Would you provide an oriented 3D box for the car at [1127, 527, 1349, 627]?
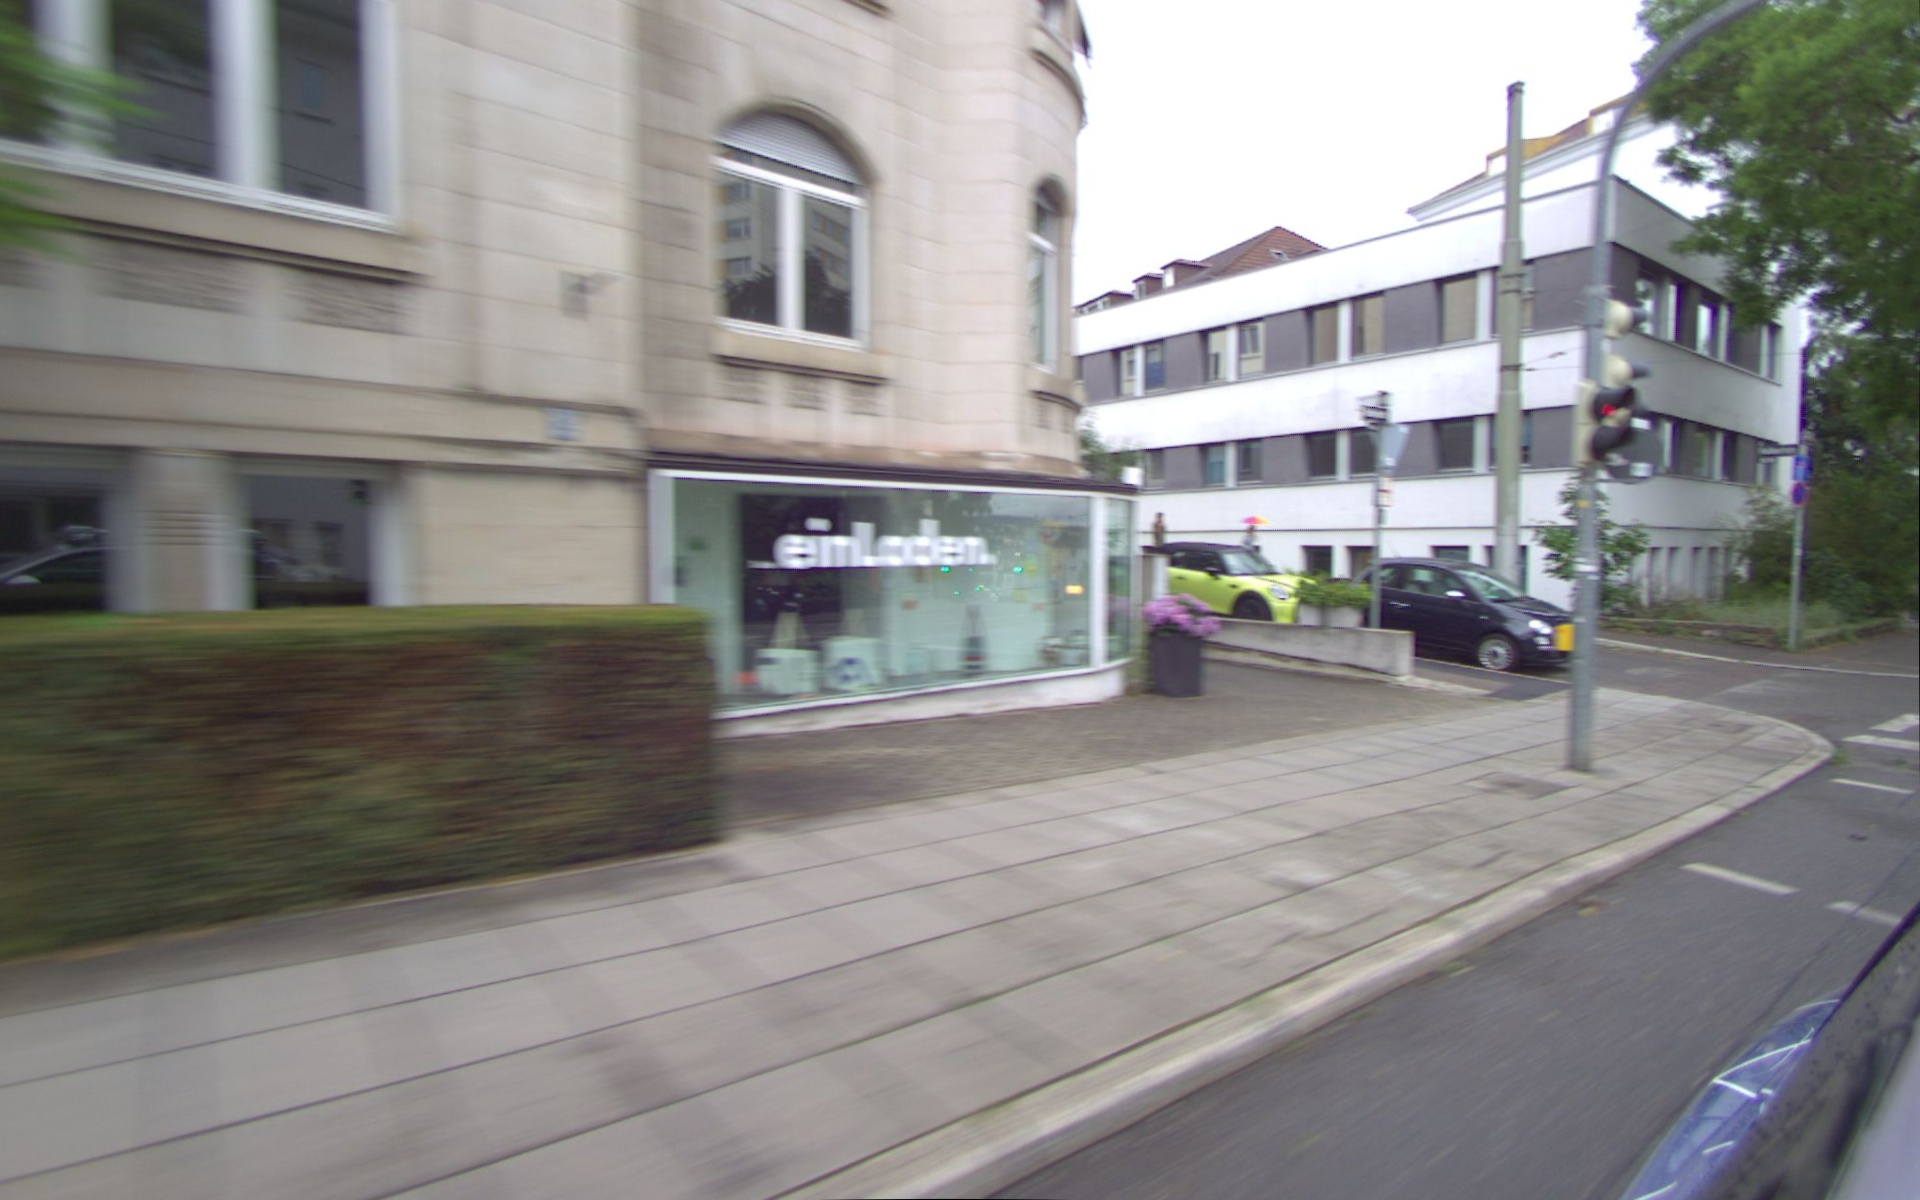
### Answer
[{"bbox_3d":[5.019,-0.504,18.698,1.705,1.525,3.674,-1,6,-35],"label":"car"}]

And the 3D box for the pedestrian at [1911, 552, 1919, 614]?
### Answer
[{"bbox_3d":[26.786,-0.444,27.728,0.660,1.719,0.747,3,5,-32],"label":"pedestrian"}]

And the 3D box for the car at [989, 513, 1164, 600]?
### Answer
[{"bbox_3d":[2.461,-1.024,22.166,1.595,1.524,3.773,-5,10,-39],"label":"car"}]

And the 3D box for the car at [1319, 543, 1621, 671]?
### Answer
[{"bbox_3d":[7.626,-0.003,15.452,1.705,1.525,3.674,-1,6,-35],"label":"car"}]

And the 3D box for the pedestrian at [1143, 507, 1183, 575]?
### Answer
[{"bbox_3d":[5.249,-1.531,26.189,0.637,1.699,0.703,1,2,-39],"label":"pedestrian"}]
